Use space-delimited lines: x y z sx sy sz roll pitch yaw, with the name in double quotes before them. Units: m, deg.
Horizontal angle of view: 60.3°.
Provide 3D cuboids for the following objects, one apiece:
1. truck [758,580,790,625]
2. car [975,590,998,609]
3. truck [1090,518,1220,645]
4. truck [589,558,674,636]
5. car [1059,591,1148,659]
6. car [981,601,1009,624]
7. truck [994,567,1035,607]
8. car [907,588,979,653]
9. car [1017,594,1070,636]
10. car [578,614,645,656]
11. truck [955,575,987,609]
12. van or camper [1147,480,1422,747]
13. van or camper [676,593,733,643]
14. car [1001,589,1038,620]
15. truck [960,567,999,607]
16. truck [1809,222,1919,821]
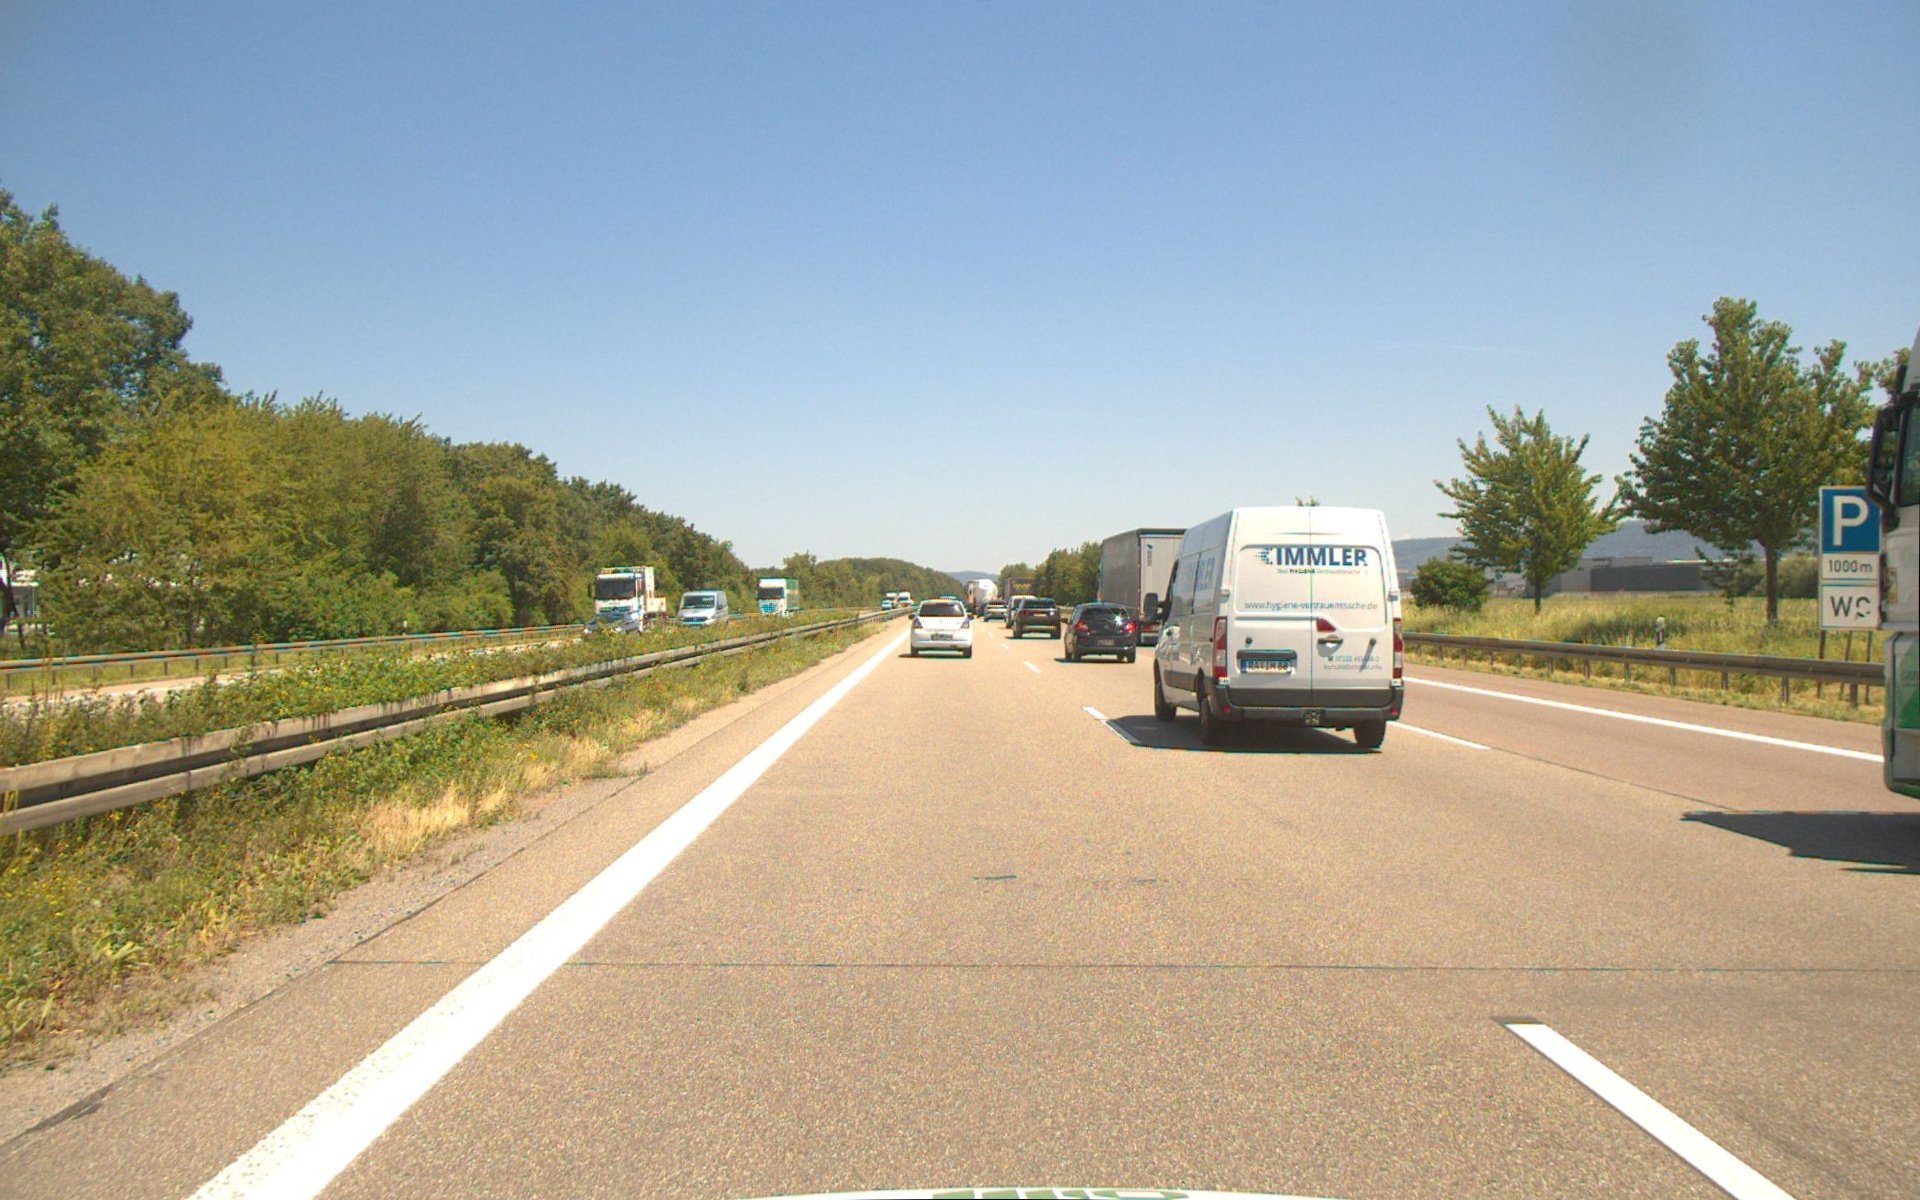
"truck" -17.676 0.191 157.596 2.367 4.165 5.880 1 0 -1
"car" 2.377 -0.080 149.003 1.820 1.681 3.998 1 0 -2
"truck" 7.381 -0.641 65.500 3.016 4.282 16.842 1 0 0
"truck" -17.438 -0.163 88.396 2.552 3.827 9.863 -2 0 -1
"car" 3.684 0.619 43.016 1.820 1.681 3.998 1 0 -2
"car" 2.602 0.916 123.010 1.820 1.681 3.998 1 0 -2
"truck" 6.102 -1.469 189.695 3.193 4.282 16.832 1 0 -3
"car" -0.516 0.535 45.374 1.820 1.681 3.998 1 0 -2
"car" 3.433 0.598 68.435 1.820 1.681 3.998 1 0 -2
"car" -13.747 1.354 65.491 1.820 1.464 4.596 -2 0 -2
"truck" 1.392 -1.041 224.986 3.193 4.282 16.832 1 0 -3
"van or camper" 3.603 0.135 19.619 2.016 2.668 5.984 0 0 -1
"van or camper" -13.126 0.887 85.277 2.016 2.394 6.075 -2 0 -1
"car" 3.320 0.245 92.923 1.820 1.681 3.998 1 0 -2
"truck" 2.109 -1.438 187.385 3.193 4.282 16.832 1 0 -3
"truck" 7.843 -0.518 9.329 2.615 4.064 6.635 1 0 -1
